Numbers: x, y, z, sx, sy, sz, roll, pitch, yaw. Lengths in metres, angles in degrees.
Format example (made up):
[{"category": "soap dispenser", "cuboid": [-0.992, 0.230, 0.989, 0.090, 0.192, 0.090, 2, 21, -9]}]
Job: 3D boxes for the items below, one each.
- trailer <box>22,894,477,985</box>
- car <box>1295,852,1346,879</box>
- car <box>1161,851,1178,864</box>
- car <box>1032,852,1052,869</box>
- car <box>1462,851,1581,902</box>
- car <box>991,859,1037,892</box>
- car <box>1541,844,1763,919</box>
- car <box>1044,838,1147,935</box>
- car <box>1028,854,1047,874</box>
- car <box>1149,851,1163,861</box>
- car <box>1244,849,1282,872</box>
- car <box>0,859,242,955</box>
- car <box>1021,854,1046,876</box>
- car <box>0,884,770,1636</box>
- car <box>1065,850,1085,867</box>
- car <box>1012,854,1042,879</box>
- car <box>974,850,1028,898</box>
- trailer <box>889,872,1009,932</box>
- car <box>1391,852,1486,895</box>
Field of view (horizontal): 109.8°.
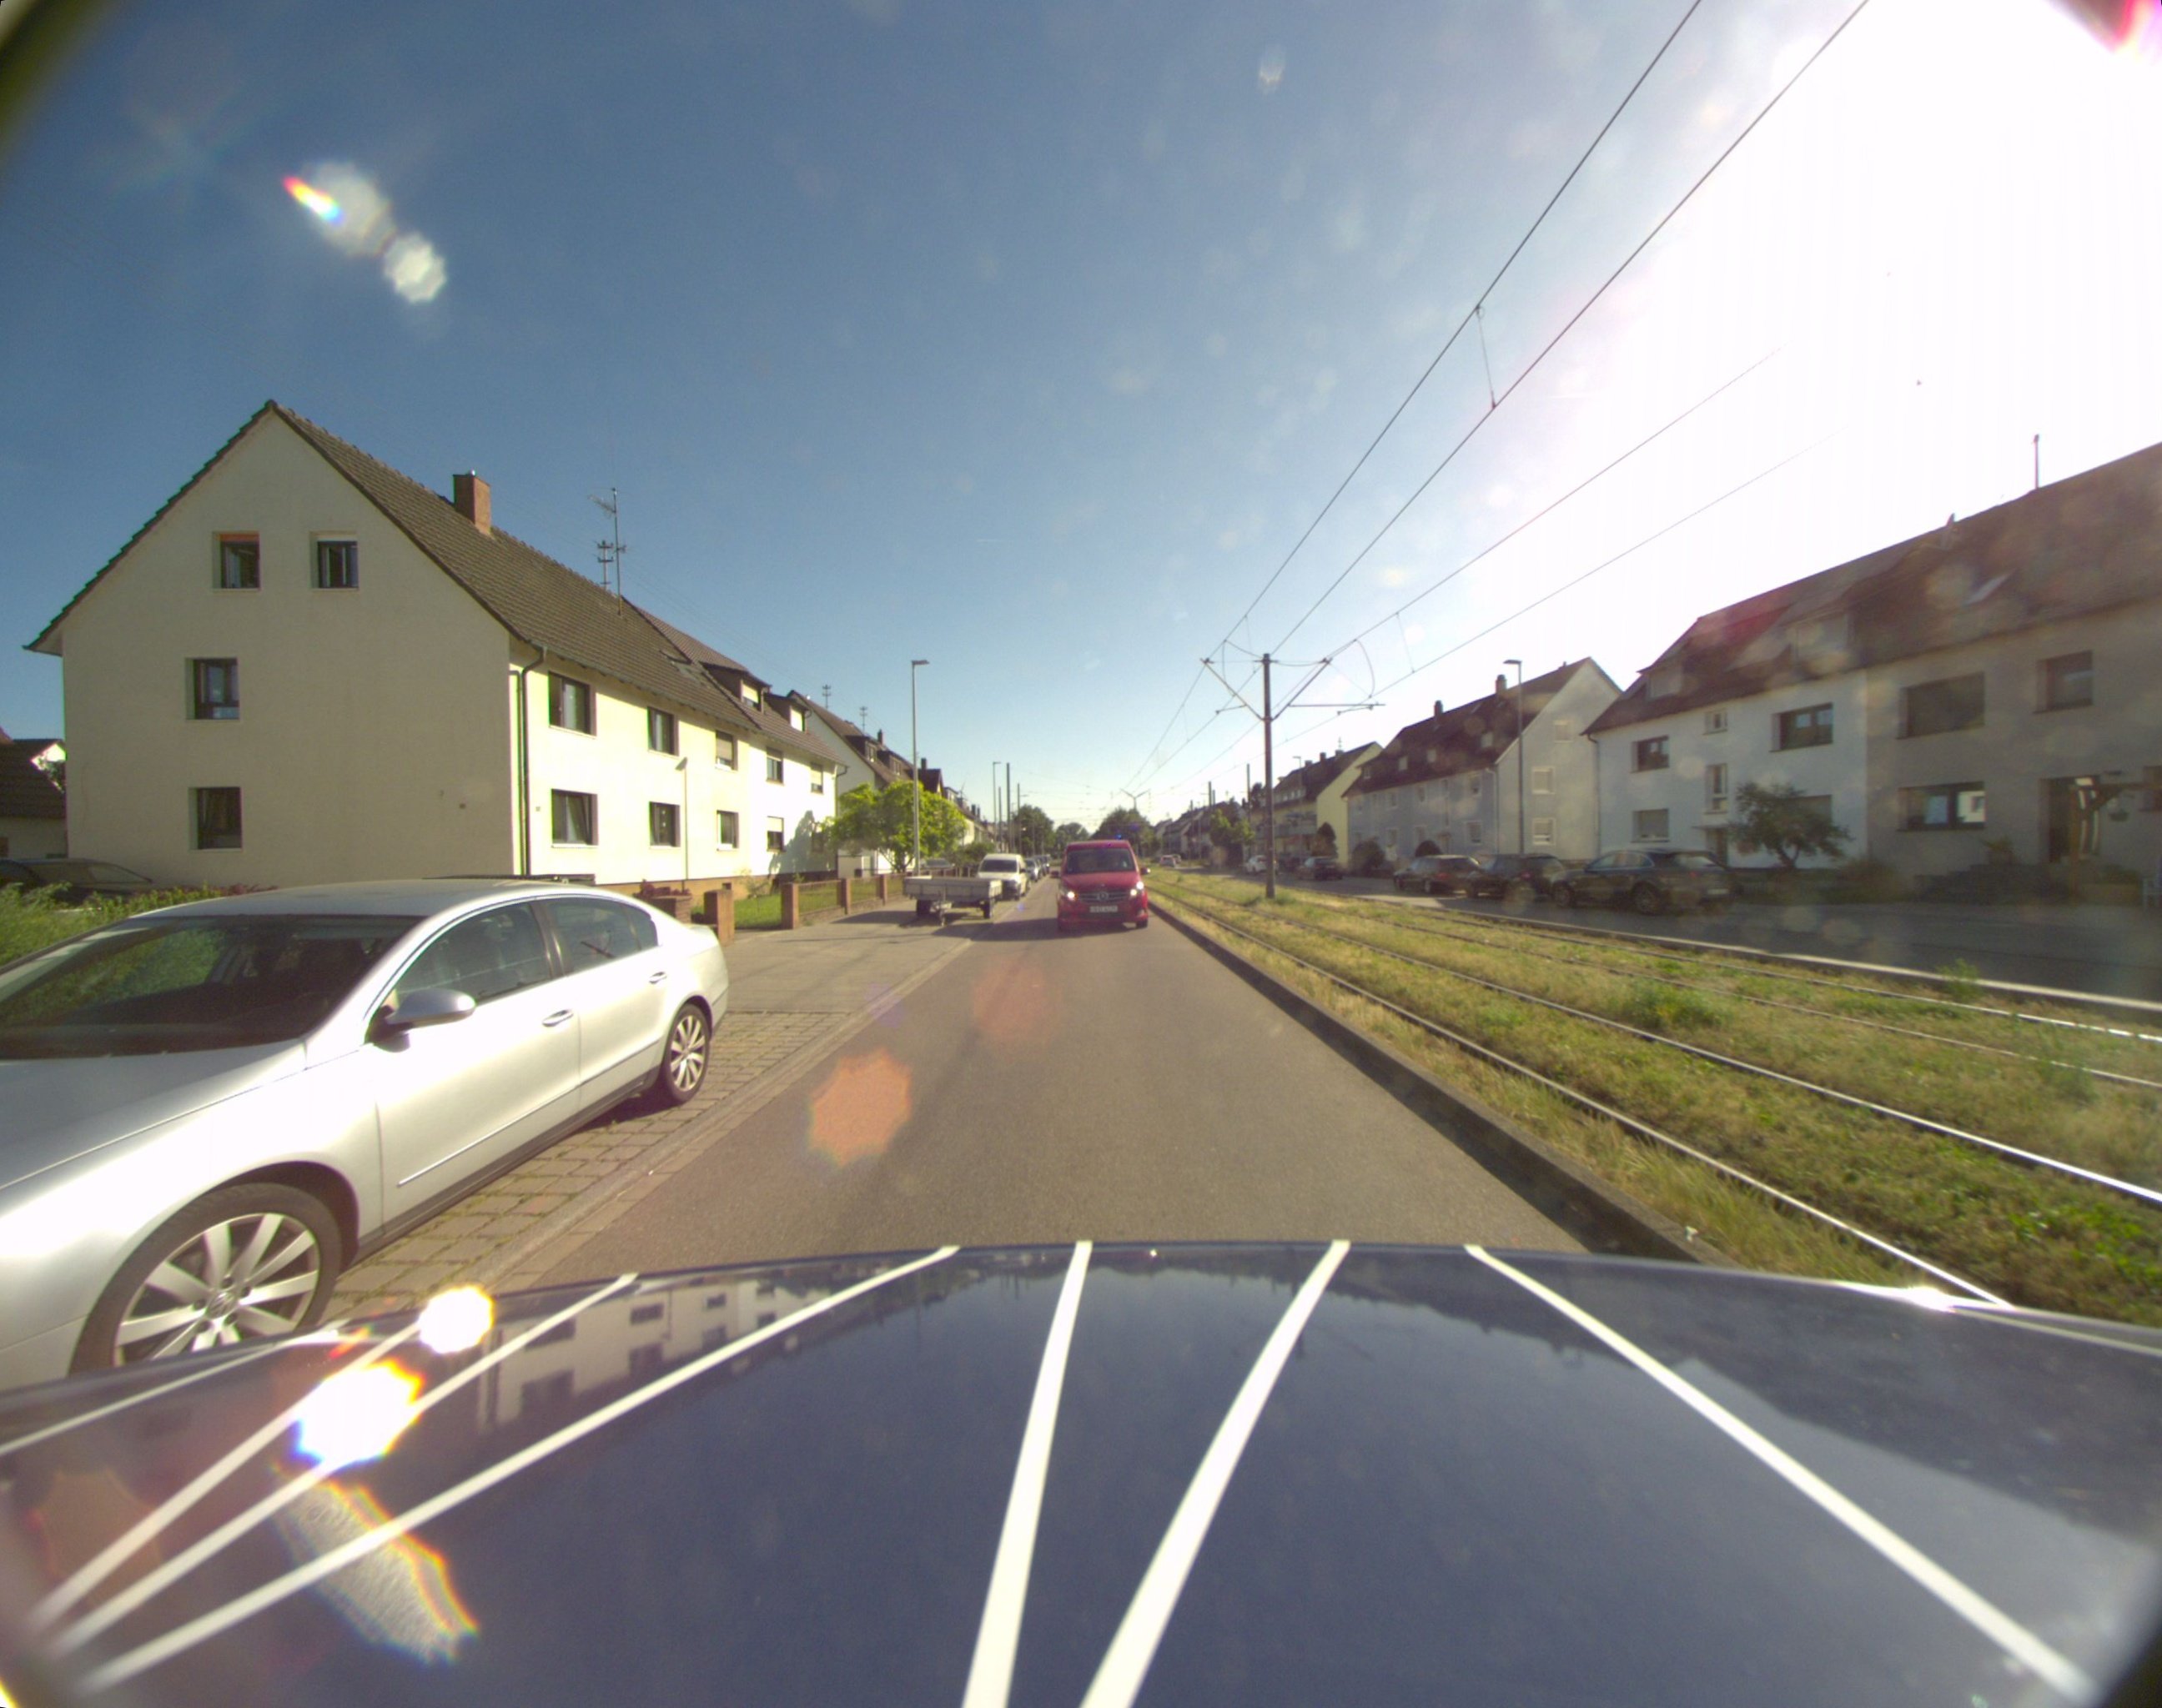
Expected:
[{"category": "trailer", "cuboid": [-13.208, 1.329, 12.333, 5.132, 1.149, 2.135, -1, 1, 2]}, {"category": "car", "cuboid": [13.906, 0.625, 44.376, 1.704, 1.389, 4.092, -3, 1, 1]}, {"category": "car", "cuboid": [11.053, 0.399, 95.154, 1.704, 1.455, 4.092, -3, 1, 1]}, {"category": "car", "cuboid": [-3.981, 0.629, 78.257, 1.861, 1.592, 4.583, 1, 1, -2]}, {"category": "car", "cuboid": [13.909, 0.677, 24.271, 1.469, 1.459, 3.999, -1, 0, 0]}, {"category": "car", "cuboid": [-3.172, 0.996, 36.764, 1.828, 1.461, 4.441, -1, 0, 0]}, {"category": "car", "cuboid": [14.010, 0.581, 19.112, 1.925, 1.551, 4.858, -3, 1, 0]}, {"category": "car", "cuboid": [0.322, 0.627, 17.966, 1.998, 1.889, 5.390, -2, 1, 1]}, {"category": "car", "cuboid": [-3.693, 0.844, 65.308, 1.524, 1.571, 4.583, 1, 0, -2]}, {"category": "car", "cuboid": [13.001, 0.371, 131.653, 2.016, 1.561, 4.092, -3, 1, 1]}, {"category": "car", "cuboid": [13.611, 0.448, 57.112, 1.831, 1.522, 4.092, -3, 1, 1]}, {"category": "car", "cuboid": [-18.768, 0.947, 14.208, 3.997, 1.630, 1.907, -1, 0, 0]}, {"category": "car", "cuboid": [-3.410, 0.775, 54.808, 1.632, 1.460, 4.481, 1, 0, -2]}, {"category": "car", "cuboid": [-3.325, 0.995, 3.561, 1.735, 1.450, 5.284, -1, 0, -2]}, {"category": "car", "cuboid": [-0.665, 0.381, 75.954, 1.861, 1.592, 4.327, 1, 1, -2]}, {"category": "car", "cuboid": [-3.428, 0.792, 48.932, 1.682, 1.472, 4.388, 1, 1, -2]}, {"category": "car", "cuboid": [-3.138, 0.725, 30.504, 1.796, 1.752, 4.583, 1, 0, -2]}, {"category": "trailer", "cuboid": [-3.233, 1.143, 20.144, 2.278, 1.124, 6.434, 1, 0, -2]}, {"category": "car", "cuboid": [13.830, 0.712, 29.700, 1.658, 1.447, 4.400, -3, 1, 1]}]
